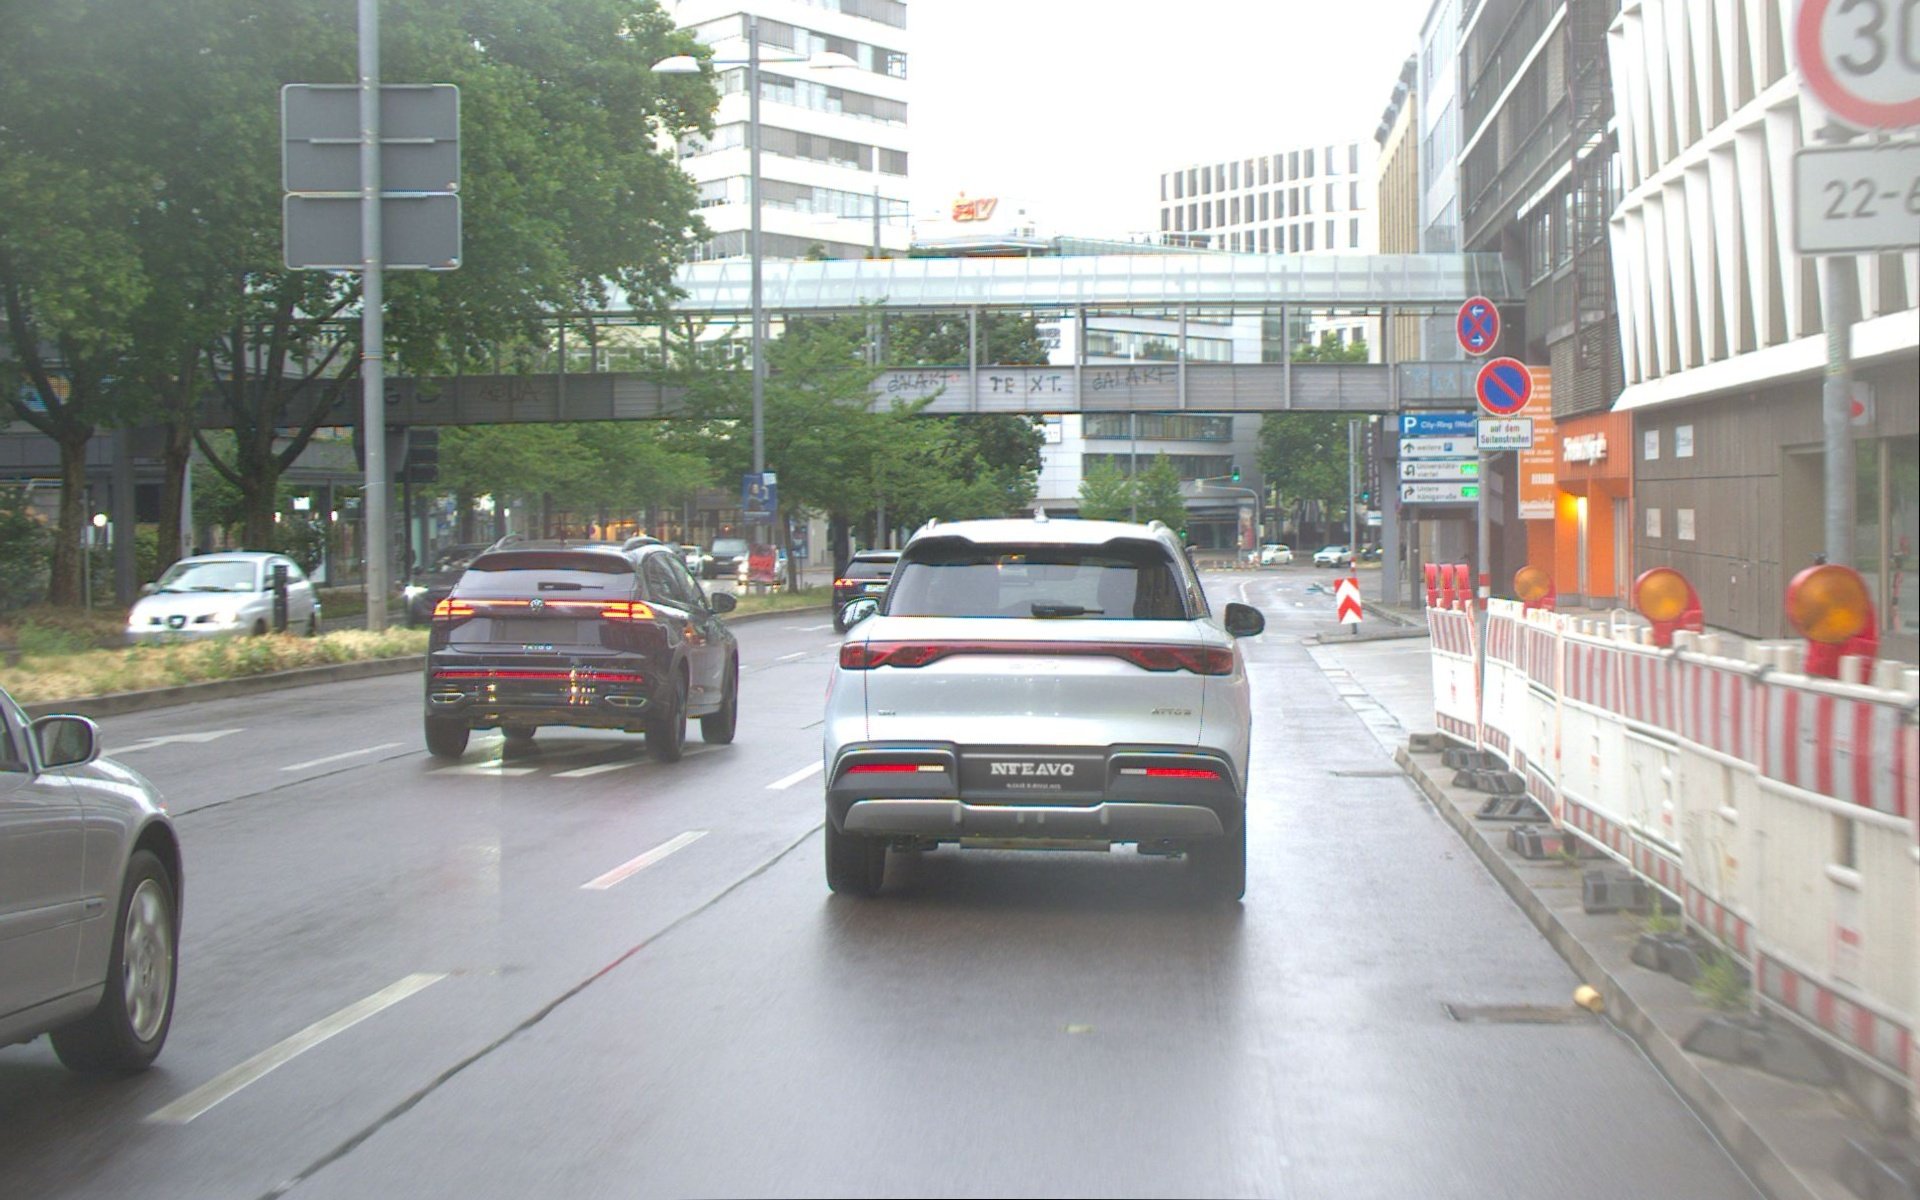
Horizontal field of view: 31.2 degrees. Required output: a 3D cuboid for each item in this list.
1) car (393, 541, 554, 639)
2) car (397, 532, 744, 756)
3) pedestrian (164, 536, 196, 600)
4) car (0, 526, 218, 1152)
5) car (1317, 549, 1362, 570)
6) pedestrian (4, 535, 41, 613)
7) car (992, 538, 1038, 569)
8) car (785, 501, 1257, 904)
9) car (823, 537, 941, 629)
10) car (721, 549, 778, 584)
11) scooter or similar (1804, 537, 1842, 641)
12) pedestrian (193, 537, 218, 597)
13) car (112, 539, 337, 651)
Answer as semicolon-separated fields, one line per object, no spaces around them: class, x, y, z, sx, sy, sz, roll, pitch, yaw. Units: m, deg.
car;-8.607;-0.182;61.162;1.874;1.674;4.680;0;0;4
car;-2.672;0.278;24.447;1.774;1.452;4.000;0;0;4
pedestrian;-21.981;-0.903;96.883;0.723;1.801;0.617;0;1;5
car;-3.110;0.552;7.769;1.672;1.474;4.360;1;0;3
car;28.597;-3.051;259.017;1.584;1.533;3.992;1;1;35
pedestrian;-21.754;-0.605;79.778;0.596;1.801;0.759;0;1;5
car;2.421;-2.041;149.855;1.654;1.337;3.999;0;1;6
car;0.388;0.390;15.842;1.901;1.616;3.999;0;1;4
car;-1.366;-0.333;61.696;1.812;1.573;4.000;0;1;3
car;-8.345;-1.341;136.560;1.597;1.355;4.115;0;0;6
scooter or similar;10.398;-0.143;41.437;0.412;1.232;1.188;0;1;13
pedestrian;-21.258;-0.921;96.866;0.559;1.680;0.511;0;1;4
car;-9.364;-0.071;44.064;1.597;1.355;4.115;0;0;6
